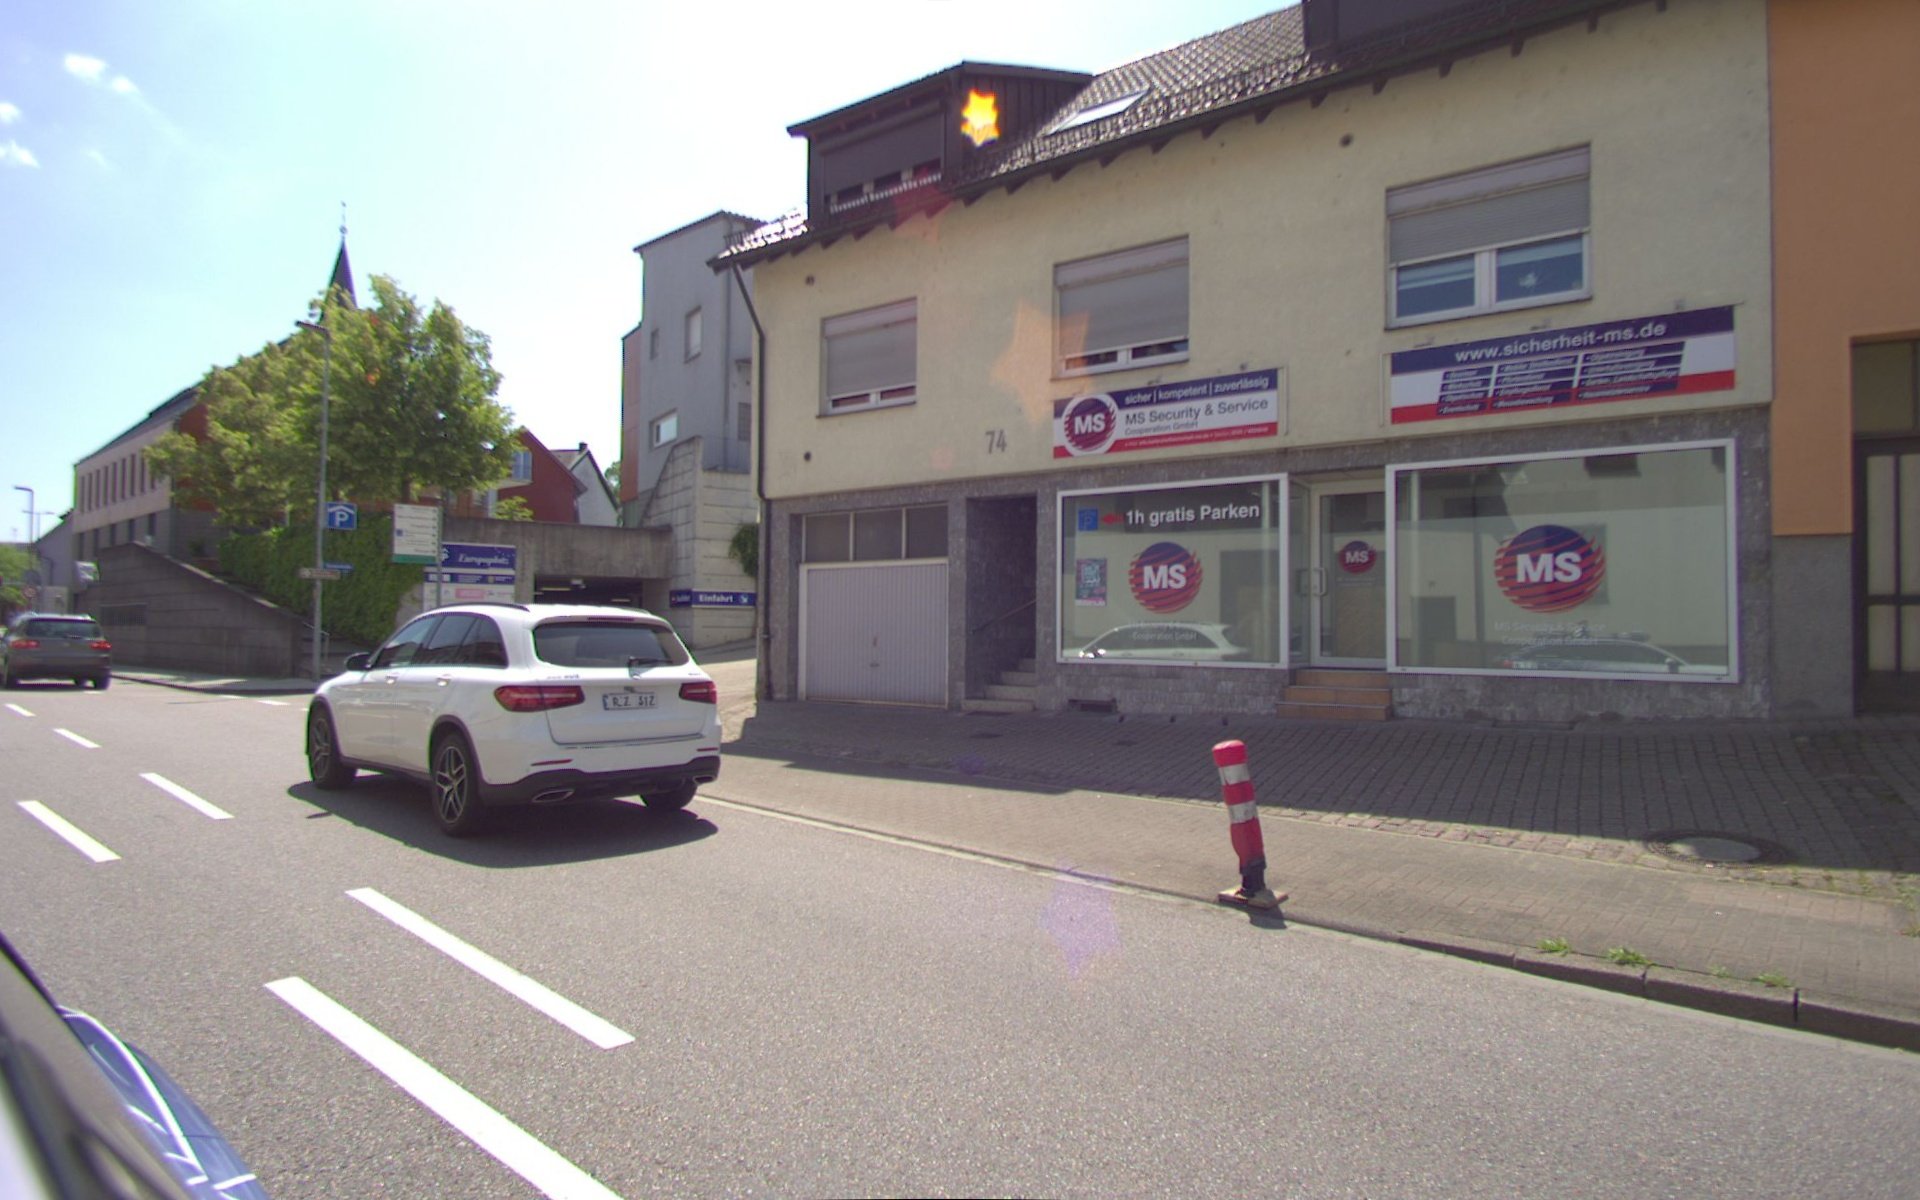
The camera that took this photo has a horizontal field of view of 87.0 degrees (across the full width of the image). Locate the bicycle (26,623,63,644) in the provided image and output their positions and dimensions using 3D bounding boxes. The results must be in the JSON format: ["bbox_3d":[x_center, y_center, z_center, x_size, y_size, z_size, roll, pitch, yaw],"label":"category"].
[{"bbox_3d":[-58.198,2.121,64.321,0.571,1.258,1.829,-3,-1,4],"label":"bicycle"}]

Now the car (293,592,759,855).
[{"bbox_3d":[-3.755,0.829,8.345,4.444,1.592,1.823,-2,-3,42],"label":"car"}]

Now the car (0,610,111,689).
[{"bbox_3d":[-20.860,1.101,23.056,4.048,1.648,1.739,-2,-3,42],"label":"car"}]
